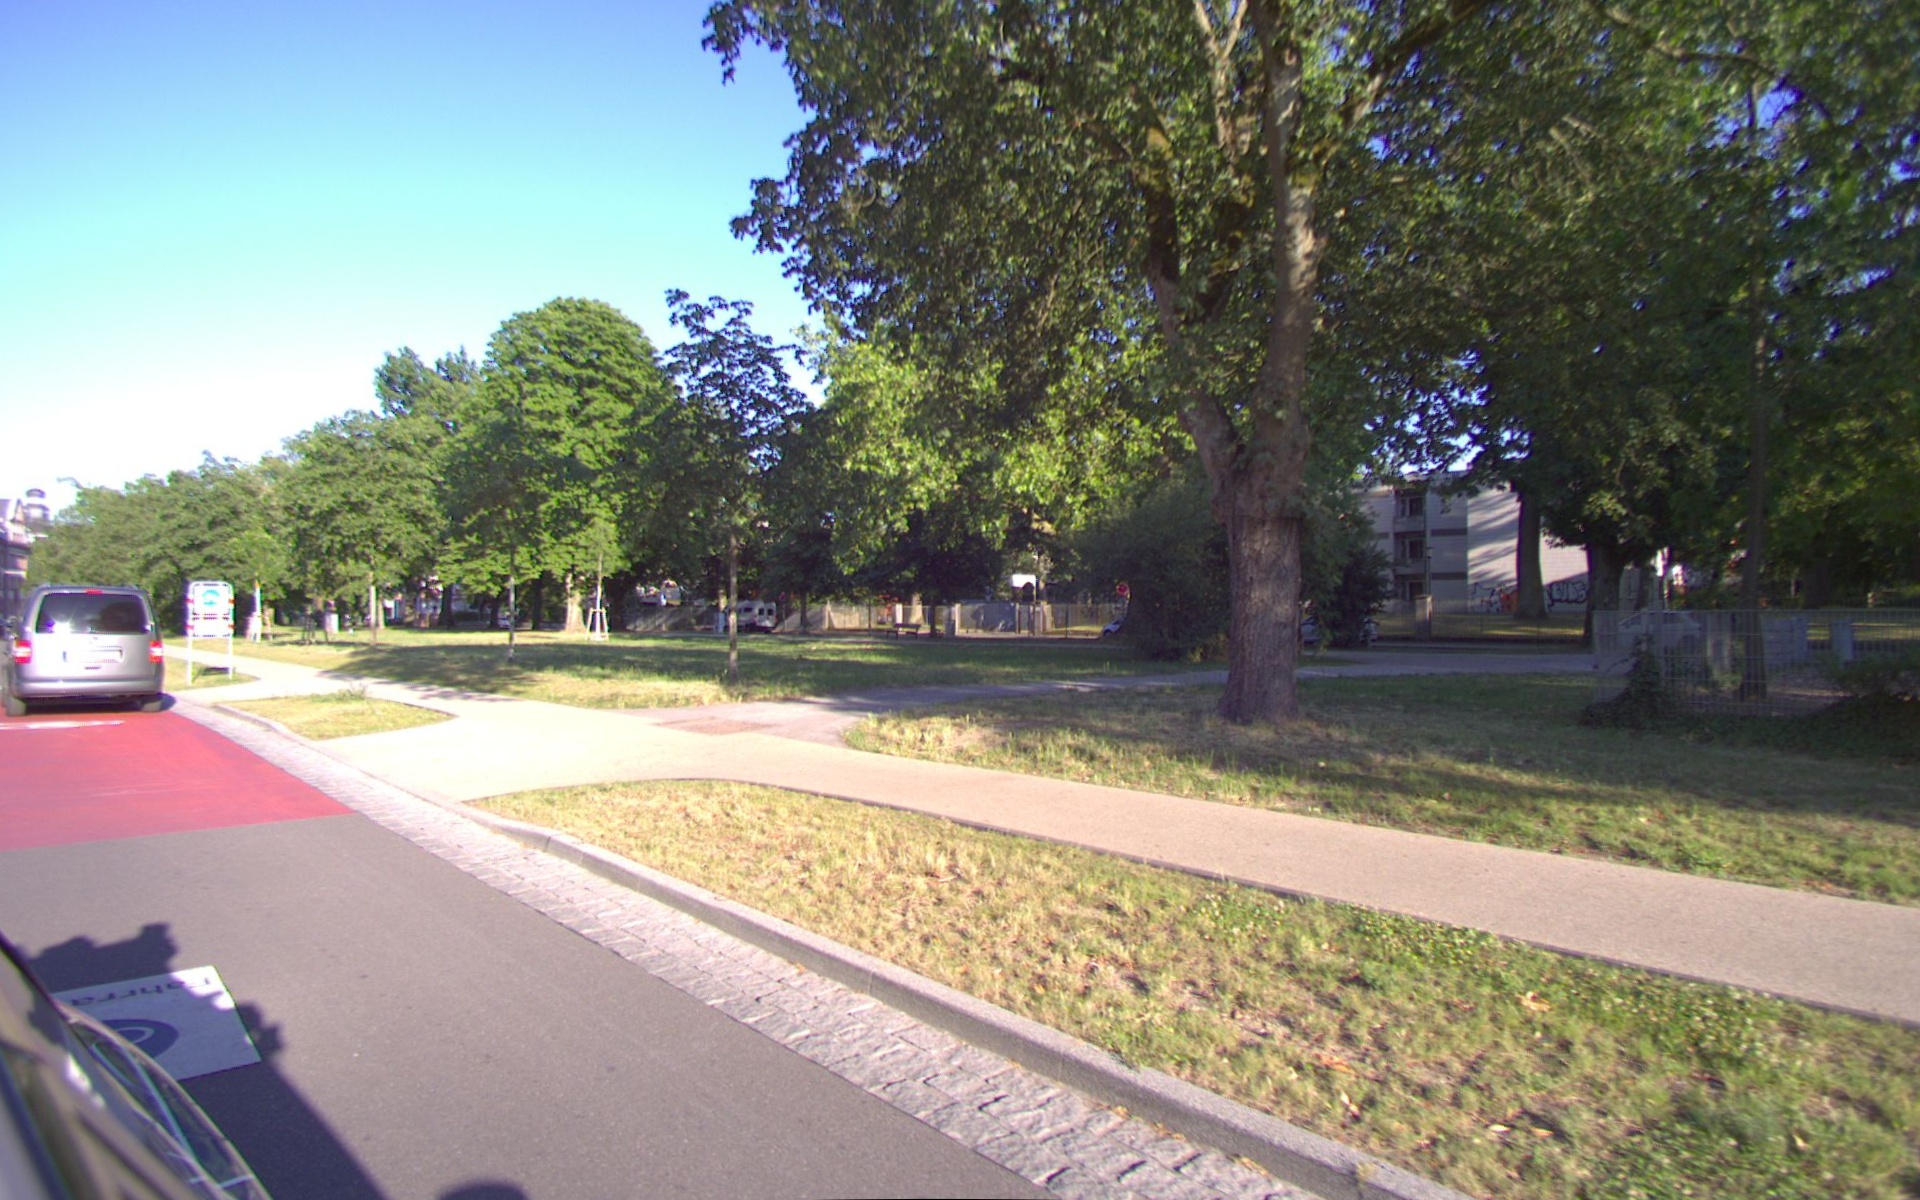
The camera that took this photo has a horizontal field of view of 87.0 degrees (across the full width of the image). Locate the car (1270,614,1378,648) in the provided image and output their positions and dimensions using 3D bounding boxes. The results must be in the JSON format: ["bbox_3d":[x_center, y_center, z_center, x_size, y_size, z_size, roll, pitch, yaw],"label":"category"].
[{"bbox_3d":[15.586,1.312,43.481,1.504,1.378,4.111,0,-1,-44],"label":"car"}]

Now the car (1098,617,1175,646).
[{"bbox_3d":[8.847,1.582,50.861,1.504,1.378,3.652,0,-1,-44],"label":"car"}]

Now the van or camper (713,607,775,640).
[{"bbox_3d":[-16.600,1.822,77.525,5.469,2.458,1.971,-2,-1,45],"label":"van or camper"}]

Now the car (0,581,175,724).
[{"bbox_3d":[-13.588,0.736,15.479,4.574,1.861,1.823,-1,-2,44],"label":"car"}]

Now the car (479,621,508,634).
[{"bbox_3d":[-53.559,3.186,116.144,1.771,1.475,4.002,0,-1,-45],"label":"car"}]

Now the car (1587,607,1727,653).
[{"bbox_3d":[23.955,1.029,34.866,1.581,1.475,3.667,0,-1,-42],"label":"car"}]
